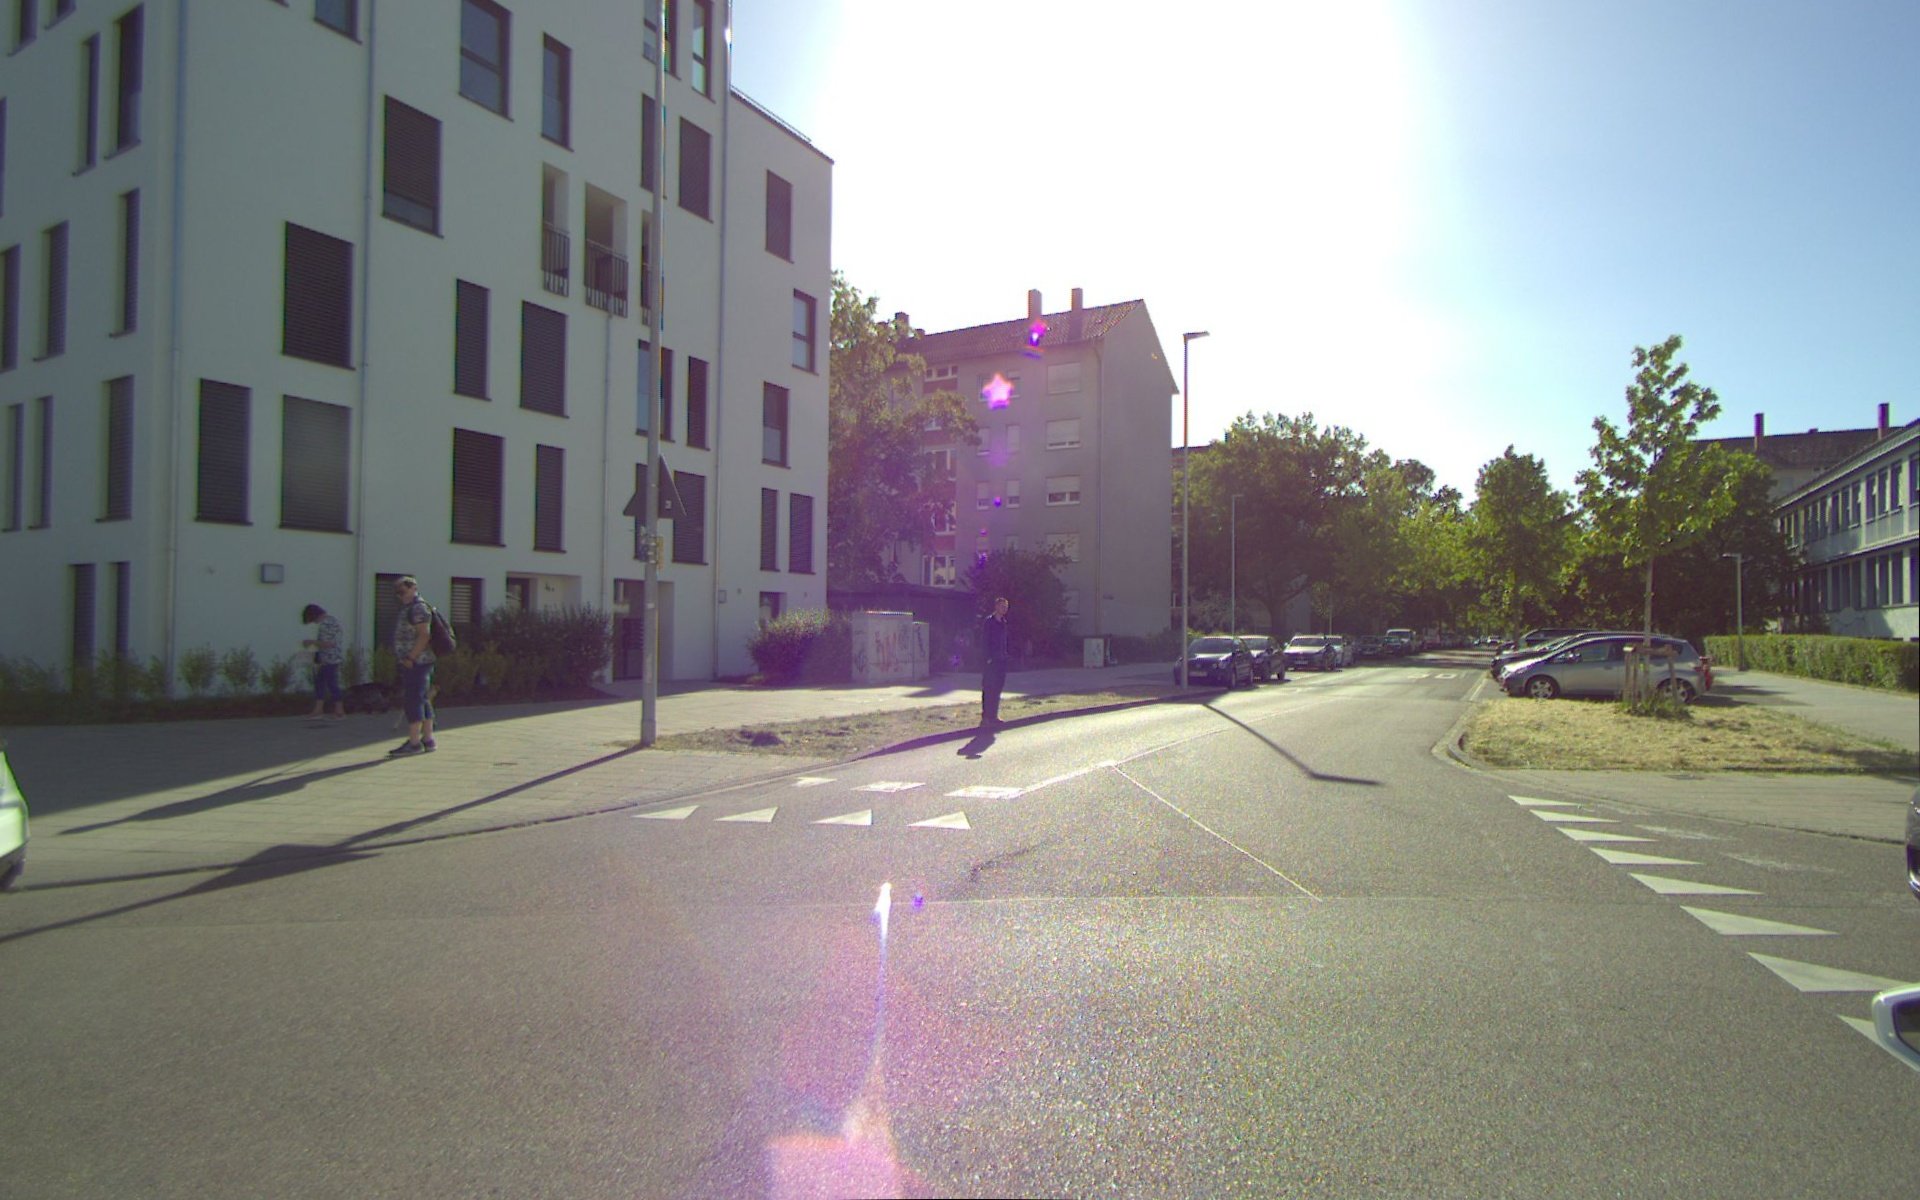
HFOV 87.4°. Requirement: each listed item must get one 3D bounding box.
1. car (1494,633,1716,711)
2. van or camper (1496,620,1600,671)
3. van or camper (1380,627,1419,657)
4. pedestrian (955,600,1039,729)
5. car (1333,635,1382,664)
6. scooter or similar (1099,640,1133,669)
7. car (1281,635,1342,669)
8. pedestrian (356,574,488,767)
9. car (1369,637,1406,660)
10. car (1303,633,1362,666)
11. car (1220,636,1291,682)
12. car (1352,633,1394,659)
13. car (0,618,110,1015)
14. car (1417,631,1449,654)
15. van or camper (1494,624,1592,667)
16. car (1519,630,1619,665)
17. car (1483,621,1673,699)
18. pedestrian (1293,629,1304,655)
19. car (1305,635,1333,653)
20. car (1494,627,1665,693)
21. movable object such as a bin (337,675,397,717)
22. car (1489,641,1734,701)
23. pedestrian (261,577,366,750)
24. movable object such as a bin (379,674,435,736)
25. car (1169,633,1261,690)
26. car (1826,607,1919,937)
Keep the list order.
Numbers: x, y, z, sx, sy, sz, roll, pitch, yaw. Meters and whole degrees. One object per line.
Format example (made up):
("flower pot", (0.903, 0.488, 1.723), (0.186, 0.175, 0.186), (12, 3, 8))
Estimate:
("car", (14.397, 1.566, 22.701), (4.026, 1.511, 1.727), (1, -2, 27))
("van or camper", (26.537, 2.030, 45.450), (3.928, 2.040, 1.997), (2, -1, 30))
("van or camper", (31.972, 3.086, 72.980), (1.965, 2.040, 3.991), (2, -2, 32))
("pedestrian", (0.535, 0.880, 14.193), (0.857, 1.737, 0.978), (0, -1, 26))
("car", (21.071, 2.601, 53.187), (1.816, 1.416, 3.993), (0, -2, 30))
("scooter or similar", (5.960, 2.070, 38.274), (0.523, 1.060, 1.866), (0, -2, 34))
("car", (14.651, 2.132, 41.754), (1.605, 1.250, 4.186), (2, -1, 30))
("pedestrian", (-5.649, 0.714, 10.571), (0.830, 1.909, 0.791), (3, -1, 20))
("car", (28.865, 3.276, 67.776), (1.816, 1.416, 3.993), (0, -2, 30))
("car", (17.416, 2.296, 46.854), (1.964, 1.416, 3.993), (0, -2, 30))
("car", (9.715, 1.879, 32.834), (1.385, 1.394, 3.993), (0, -2, 29))
("car", (25.048, 2.785, 60.861), (1.963, 1.426, 3.904), (2, -1, 27))
("car", (-6.064, 0.748, 3.388), (4.590, 1.524, 1.875), (4, -4, -33))
("car", (45.550, 4.111, 96.738), (1.968, 2.040, 3.985), (2, -1, 37))
("van or camper", (27.840, 2.147, 48.080), (3.928, 1.795, 1.997), (2, -1, 30))
("car", (31.268, 2.419, 51.730), (4.214, 1.721, 1.998), (-1, -3, 28))
("car", (16.697, 1.584, 27.422), (4.214, 1.788, 1.998), (2, -1, 28))
("pedestrian", (22.455, 2.792, 66.594), (0.624, 1.686, 0.699), (0, -1, 24))
("car", (24.674, 3.011, 69.005), (1.256, 1.241, 2.657), (0, -2, 31))
("car", (18.208, 1.736, 29.787), (4.140, 1.617, 1.997), (2, -1, 28))
("movable object such as a bin", (-8.232, 1.320, 13.951), (0.681, 0.549, 0.269), (3, -2, -40))
("car", (15.574, 1.670, 24.369), (4.794, 1.291, 1.727), (0, -2, 26))
("pedestrian", (-8.332, 0.795, 12.986), (0.943, 2.149, 0.773), (0, 0, -17))
("movable object such as a bin", (-6.750, 1.272, 12.283), (0.267, 0.689, 0.848), (2, -1, -6))
("car", (7.354, 1.720, 28.721), (1.642, 1.439, 3.995), (2, -1, 28))
("car", (6.437, 0.851, 4.117), (4.054, 1.524, 1.844), (2, -1, 4))
